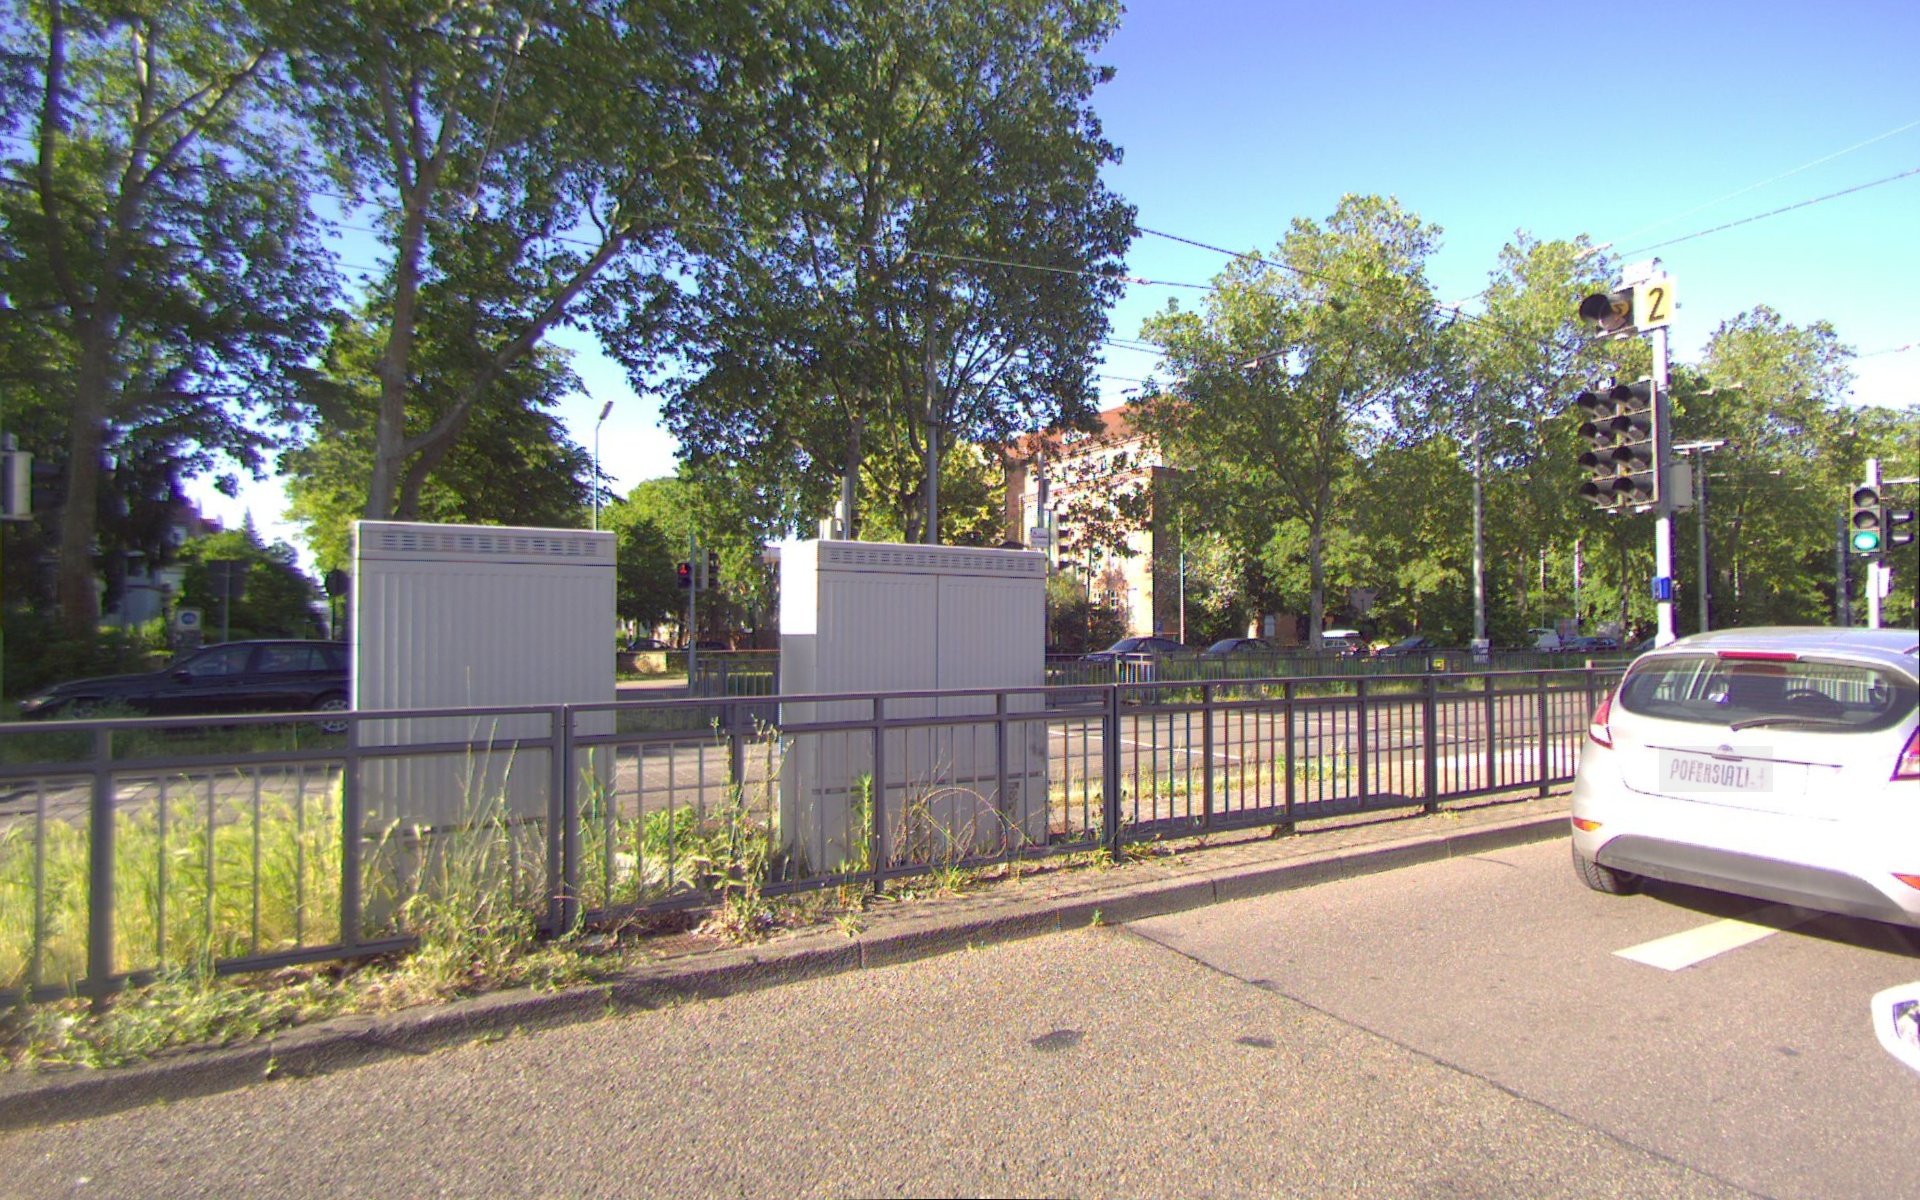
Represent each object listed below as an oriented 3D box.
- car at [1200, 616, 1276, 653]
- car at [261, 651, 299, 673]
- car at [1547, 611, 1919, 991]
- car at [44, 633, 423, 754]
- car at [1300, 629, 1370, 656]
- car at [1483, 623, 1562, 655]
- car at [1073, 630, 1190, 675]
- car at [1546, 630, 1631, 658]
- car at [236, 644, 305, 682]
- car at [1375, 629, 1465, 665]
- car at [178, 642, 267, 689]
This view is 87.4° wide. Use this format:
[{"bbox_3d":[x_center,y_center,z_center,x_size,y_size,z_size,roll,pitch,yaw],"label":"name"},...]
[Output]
[{"bbox_3d":[15.841,1.967,57.184,3.953,2.040,1.984,1,-2,-30],"label":"car"},{"bbox_3d":[-38.894,3.516,57.535,1.513,1.134,3.102,1,-1,-29],"label":"car"},{"bbox_3d":[5.009,0.826,5.540,3.850,1.487,1.599,1,-1,-35],"label":"car"},{"bbox_3d":[-10.414,1.260,14.791,4.297,1.518,1.674,1,-1,-33],"label":"car"},{"bbox_3d":[21.567,2.434,57.930,1.375,1.514,3.974,1,-2,-26],"label":"car"},{"bbox_3d":[27.995,1.910,49.953,4.098,1.529,1.660,1,-1,-32],"label":"car"},{"bbox_3d":[6.198,1.852,36.215,4.098,1.529,1.661,1,-1,-32],"label":"car"},{"bbox_3d":[33.177,2.335,52.967,4.795,1.366,1.926,2,-2,-32],"label":"car"},{"bbox_3d":[-28.794,2.599,42.068,1.976,1.437,3.970,1,-1,-29],"label":"car"},{"bbox_3d":[20.571,2.086,44.886,4.098,1.529,1.661,1,-2,-32],"label":"car"},{"bbox_3d":[-25.356,2.216,34.671,1.976,1.437,3.970,1,-1,-29],"label":"car"}]
